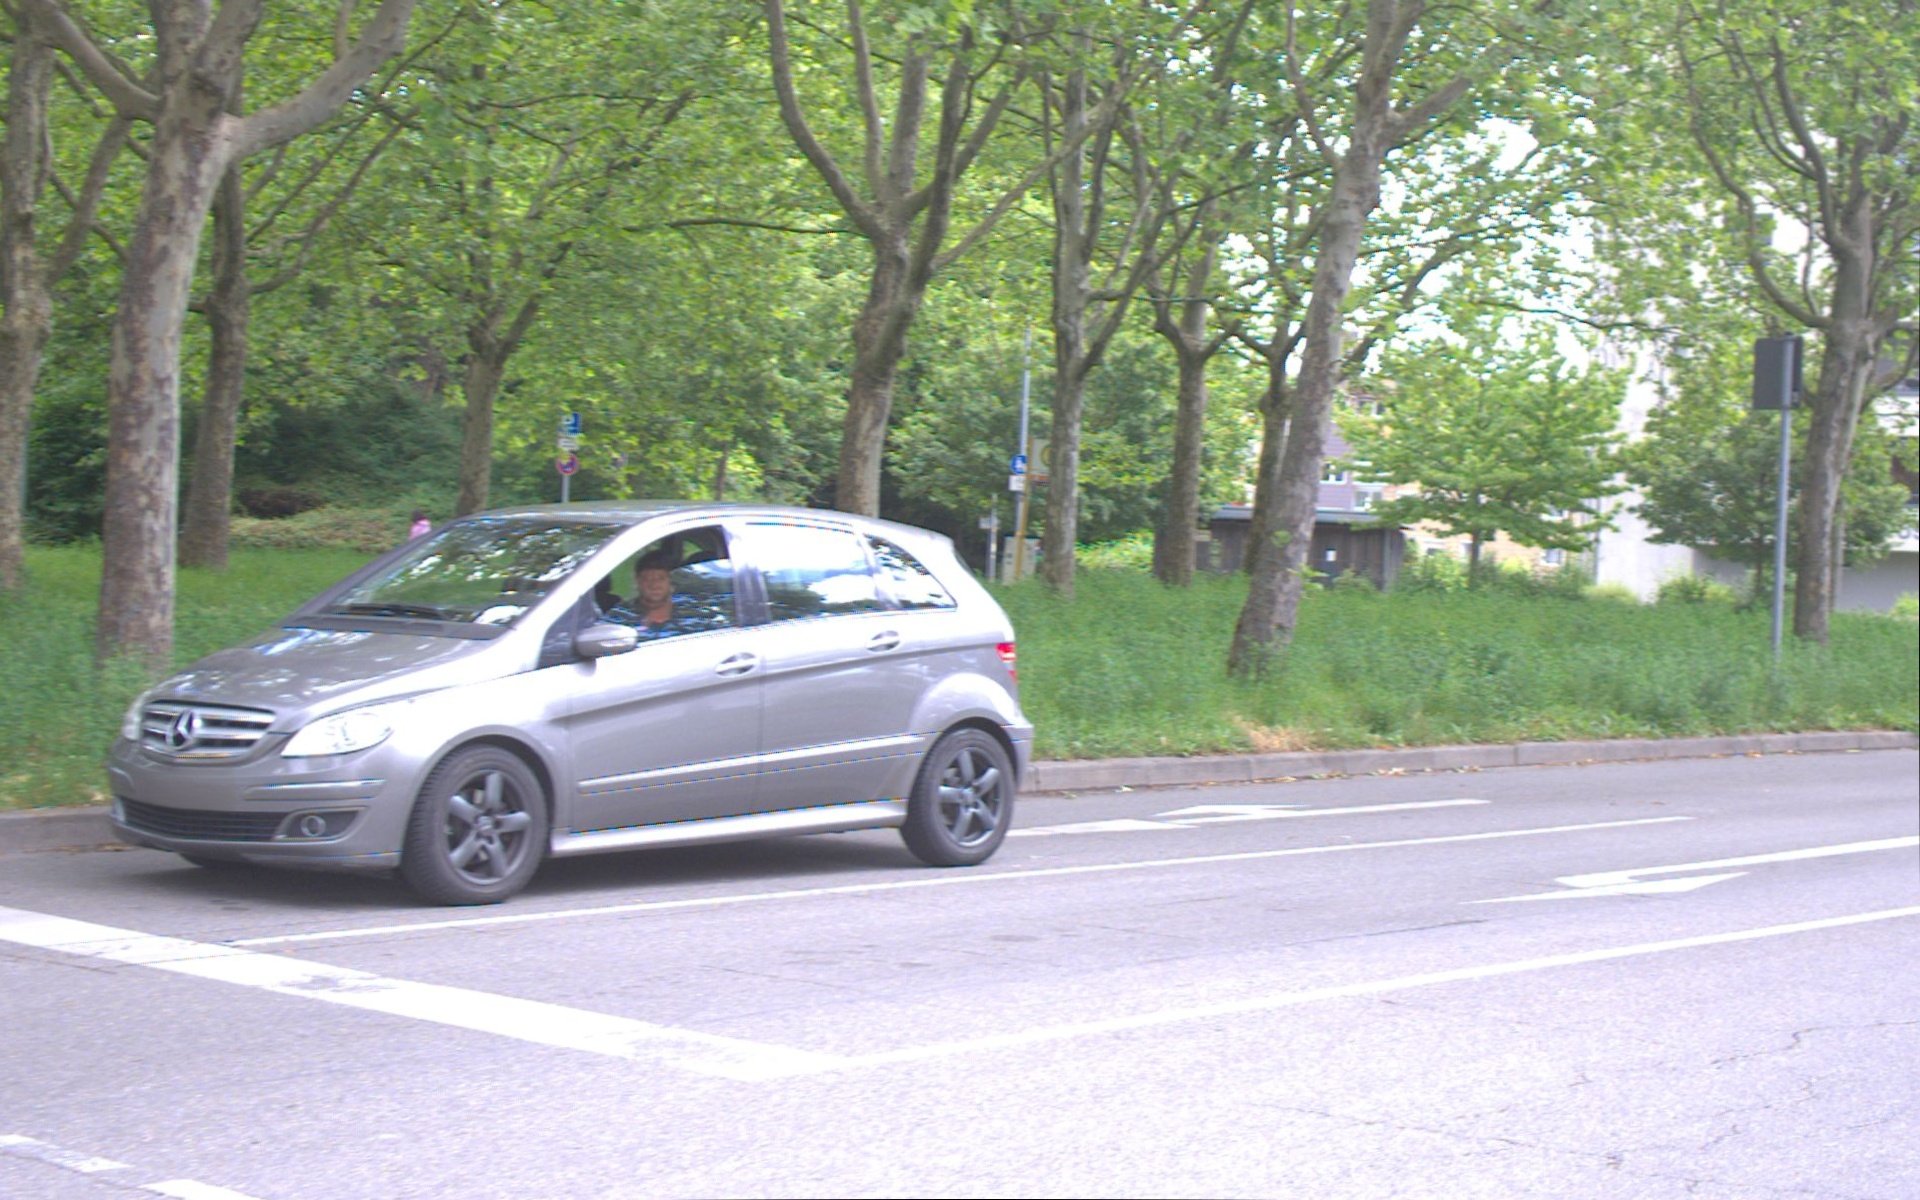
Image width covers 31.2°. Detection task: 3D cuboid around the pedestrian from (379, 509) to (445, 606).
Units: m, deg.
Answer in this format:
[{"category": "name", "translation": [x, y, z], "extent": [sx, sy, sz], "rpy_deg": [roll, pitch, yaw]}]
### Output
[{"category": "pedestrian", "translation": [-11.410, -0.884, 71.589], "extent": [0.983, 1.944, 1.084], "rpy_deg": [3, 0, 8]}]

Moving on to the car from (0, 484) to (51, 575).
[{"category": "car", "translation": [-17.435, -1.220, 57.898], "extent": [3.735, 1.495, 1.732], "rpy_deg": [2, 1, 17]}]

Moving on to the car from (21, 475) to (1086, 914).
[{"category": "car", "translation": [-1.573, 0.334, 14.654], "extent": [1.771, 1.581, 4.401], "rpy_deg": [2, 1, 42]}]
